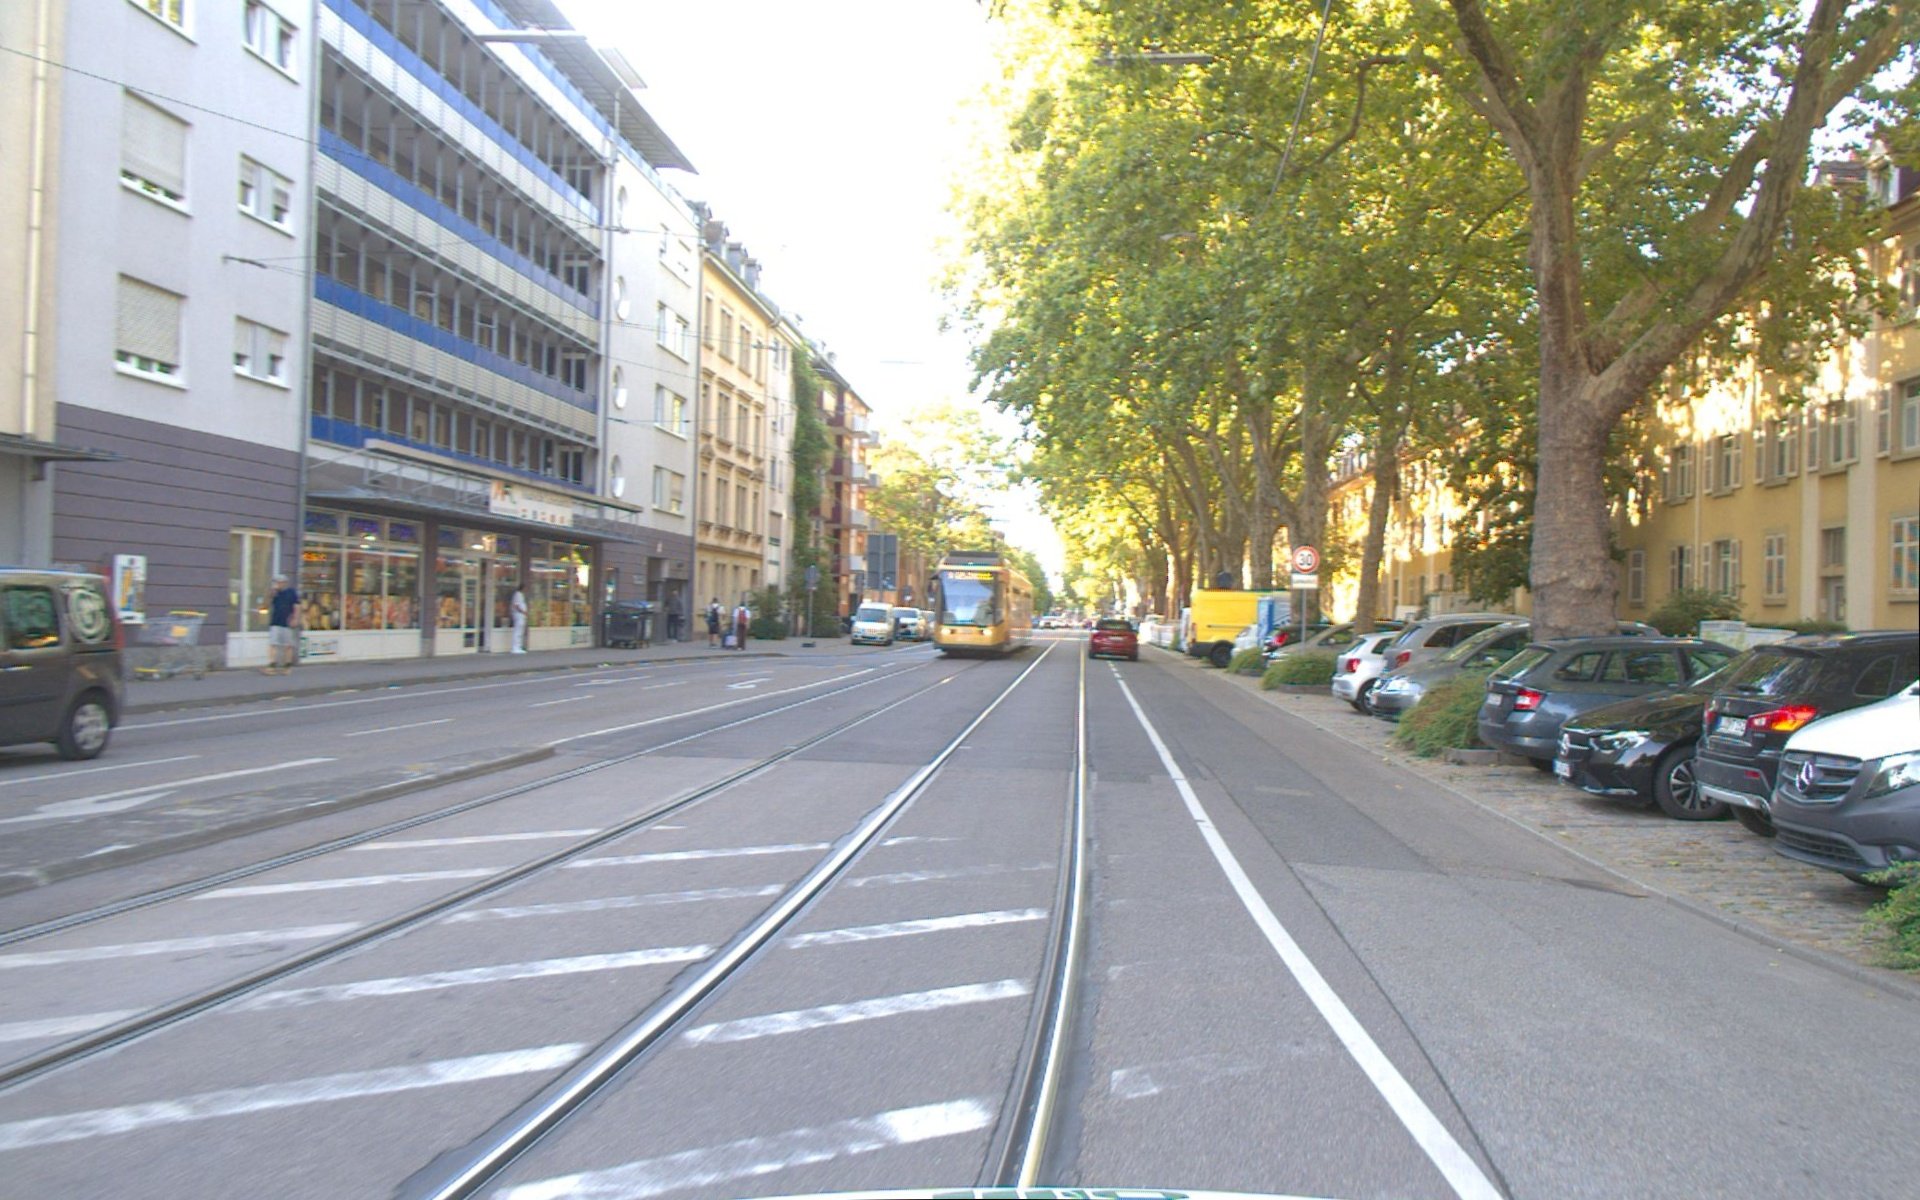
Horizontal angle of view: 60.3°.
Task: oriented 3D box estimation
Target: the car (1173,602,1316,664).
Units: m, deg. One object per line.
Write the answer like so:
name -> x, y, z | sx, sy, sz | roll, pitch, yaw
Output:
car -> 11.011, 1.273, 64.351 | 5.327, 2.230, 2.062 | 1, -1, 5

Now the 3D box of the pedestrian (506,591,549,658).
pedestrian -> -11.156, 0.626, 42.698 | 1.012, 1.691, 1.223 | 2, -1, -15

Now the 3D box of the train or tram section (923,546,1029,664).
train or tram section -> 0.797, 0.228, 59.490 | 2.800, 3.702, 13.204 | 1, -1, 5

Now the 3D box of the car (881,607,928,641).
car -> -2.731, 1.194, 82.203 | 1.854, 1.591, 4.394 | 1, -1, 4

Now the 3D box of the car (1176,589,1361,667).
car -> 10.126, 0.915, 54.730 | 5.820, 2.407, 2.062 | 1, -1, 5

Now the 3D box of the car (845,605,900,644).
car -> -3.763, 1.057, 71.663 | 1.854, 1.591, 4.394 | 1, -1, 4

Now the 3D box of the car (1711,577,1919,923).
car -> 7.431, 0.834, 9.736 | 5.110, 1.858, 1.931 | 0, -2, 4

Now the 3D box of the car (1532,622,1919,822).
car -> 7.779, 1.057, 14.932 | 4.612, 1.630, 1.921 | 1, -1, 5

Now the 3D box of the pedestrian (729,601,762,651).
pedestrian -> -7.307, 0.892, 56.345 | 0.873, 1.653, 1.035 | 1, -1, 5

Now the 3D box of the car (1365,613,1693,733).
car -> 9.009, 1.134, 26.507 | 4.613, 1.752, 1.920 | 1, -1, 4

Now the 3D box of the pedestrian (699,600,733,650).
pedestrian -> -8.254, 0.834, 55.971 | 0.873, 1.653, 1.035 | 1, -1, 5

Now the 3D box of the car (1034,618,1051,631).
car -> 10.691, 3.150, 213.855 | 1.953, 1.536, 4.000 | 1, -1, 0

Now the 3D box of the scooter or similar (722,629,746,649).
scooter or similar -> -7.584, 1.297, 55.489 | 0.611, 0.659, 0.766 | 1, -1, 5

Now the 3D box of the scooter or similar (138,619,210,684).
scooter or similar -> -12.302, 0.788, 25.909 | 0.457, 0.970, 1.431 | 1, -1, -2

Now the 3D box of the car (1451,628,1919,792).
car -> 7.772, 1.131, 17.680 | 4.490, 1.532, 1.920 | 1, -1, 2

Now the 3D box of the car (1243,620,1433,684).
car -> 9.961, 1.359, 43.866 | 4.614, 1.561, 1.920 | 1, -1, 2

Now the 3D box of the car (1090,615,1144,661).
car -> 5.675, 1.402, 59.998 | 1.853, 1.592, 4.394 | 0, -2, 5

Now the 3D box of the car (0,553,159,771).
car -> -9.027, 0.506, 14.027 | 1.868, 1.838, 4.365 | 1, 0, 8

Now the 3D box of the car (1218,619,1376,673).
car -> 10.571, 1.419, 52.119 | 4.614, 1.561, 1.920 | 1, -1, 3

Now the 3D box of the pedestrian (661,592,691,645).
pedestrian -> -10.327, 0.654, 60.087 | 0.880, 1.897, 0.783 | 2, -1, -23

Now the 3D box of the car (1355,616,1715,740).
car -> 8.262, 1.099, 24.115 | 4.612, 1.630, 1.921 | 1, -1, 5

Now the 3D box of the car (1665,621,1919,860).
car -> 7.835, 1.026, 12.370 | 4.314, 1.630, 1.944 | 1, -1, 5

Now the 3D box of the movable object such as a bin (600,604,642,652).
movable object such as a bin -> -10.363, 0.851, 50.586 | 0.992, 1.453, 1.144 | 1, -1, 0

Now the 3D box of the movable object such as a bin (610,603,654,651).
movable object such as a bin -> -10.300, 0.840, 52.023 | 0.991, 1.453, 1.257 | 1, -1, 5

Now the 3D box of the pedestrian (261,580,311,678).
pedestrian -> -11.665, 0.499, 28.654 | 0.651, 1.677, 0.623 | 1, -1, -12

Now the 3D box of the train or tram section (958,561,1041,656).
train or tram section -> 1.888, 0.411, 72.444 | 2.772, 3.702, 12.823 | 1, -1, 5

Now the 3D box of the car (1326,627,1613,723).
car -> 9.064, 1.317, 29.751 | 4.613, 1.561, 1.920 | 1, -1, 4

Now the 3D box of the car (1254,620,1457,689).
car -> 9.790, 1.337, 41.210 | 4.614, 1.561, 1.920 | 1, -1, 2
